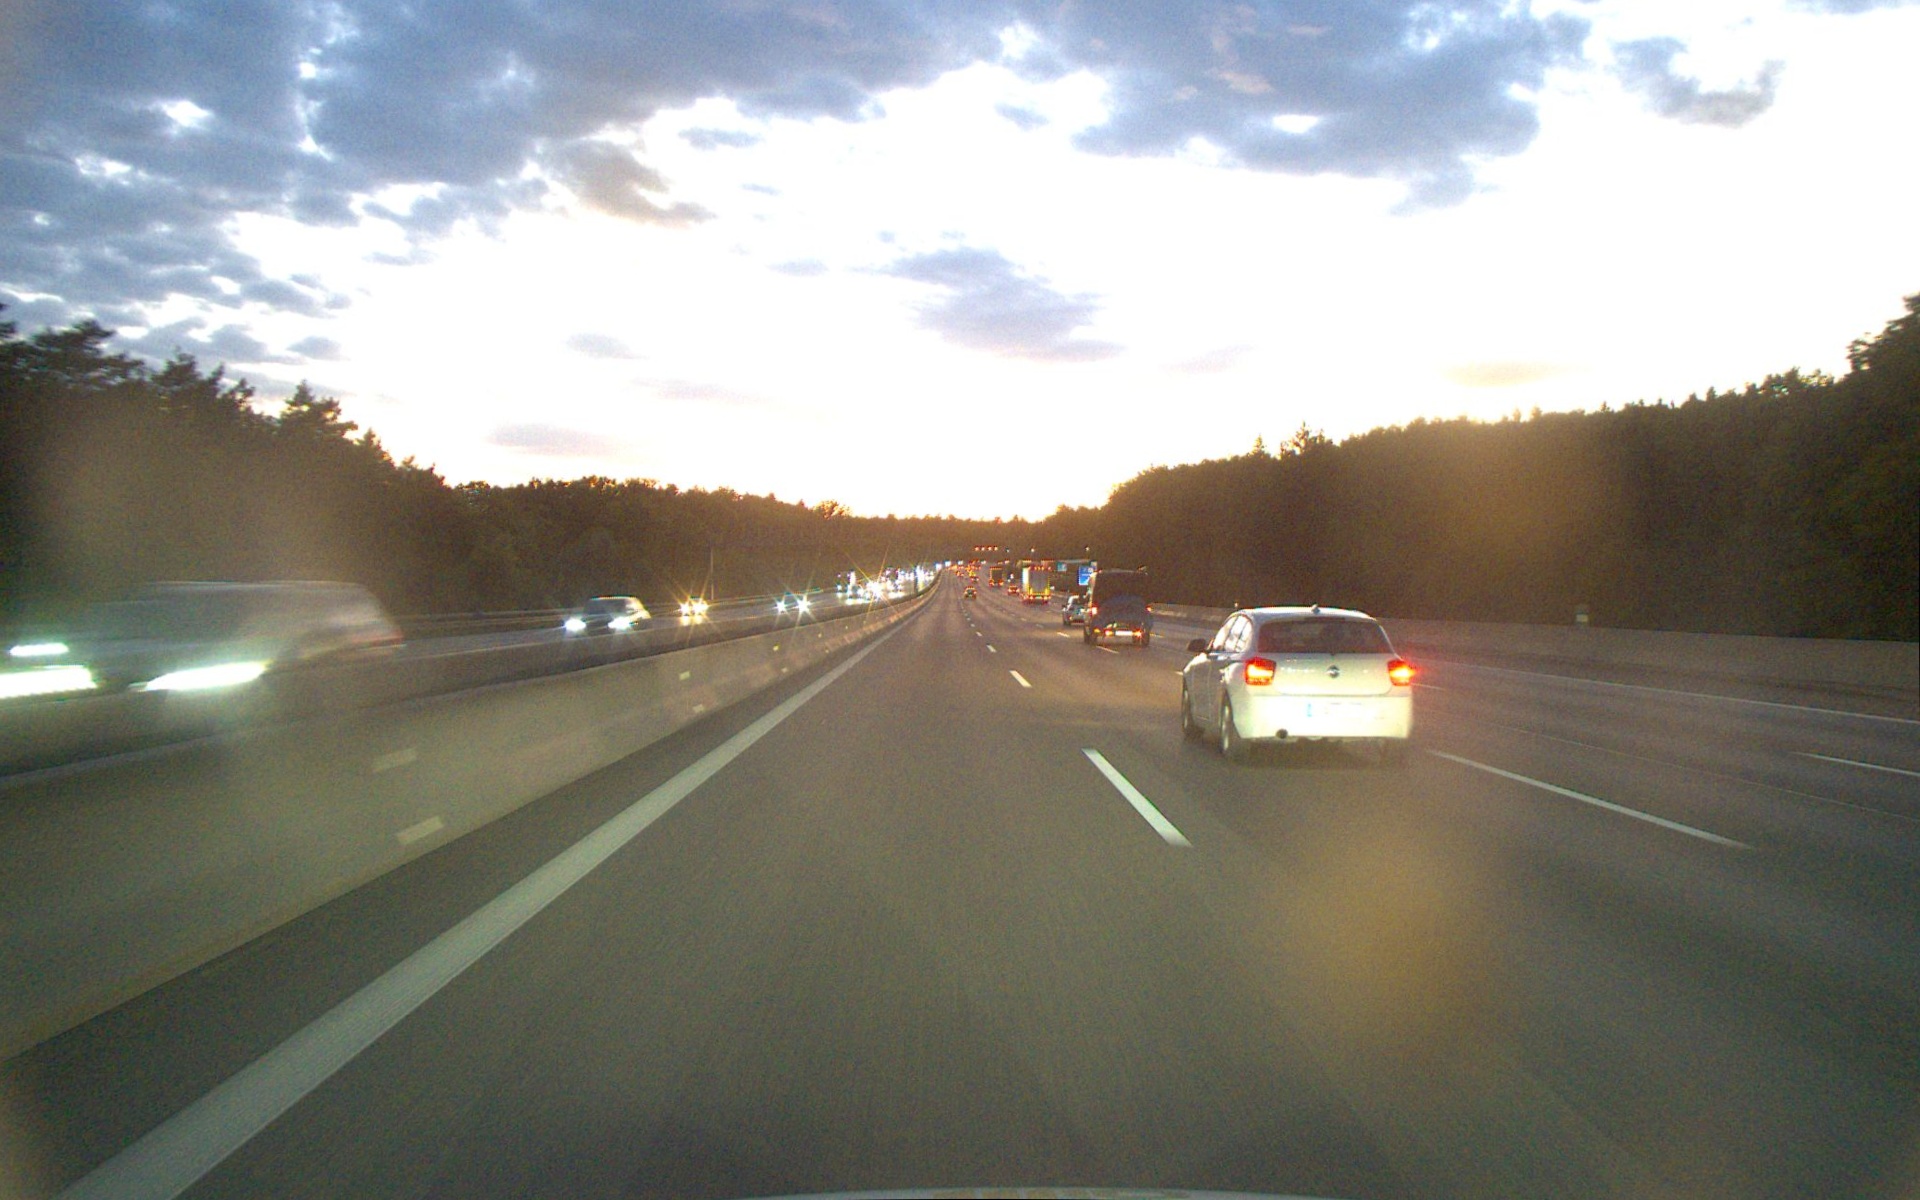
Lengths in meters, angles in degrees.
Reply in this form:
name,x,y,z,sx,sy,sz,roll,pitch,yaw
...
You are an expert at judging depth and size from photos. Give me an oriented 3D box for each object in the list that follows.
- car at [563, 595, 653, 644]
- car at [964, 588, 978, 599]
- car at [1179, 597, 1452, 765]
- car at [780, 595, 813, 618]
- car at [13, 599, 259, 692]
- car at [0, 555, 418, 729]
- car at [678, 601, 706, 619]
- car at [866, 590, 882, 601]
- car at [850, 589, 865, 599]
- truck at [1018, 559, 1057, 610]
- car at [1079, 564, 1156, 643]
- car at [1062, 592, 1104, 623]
name,x,y,z,sx,sy,sz,roll,pitch,yaw
car,-10.784,0.576,51.012,1.811,1.438,4.790,0,0,-1
car,1.564,-0.910,232.649,1.798,1.598,4.001,0,0,2
car,3.399,0.722,16.517,1.822,1.467,3.719,1,0,-2
car,-10.860,0.421,110.144,1.799,1.463,4.000,0,0,0
car,-14.013,0.713,28.471,1.873,1.449,4.746,0,0,0
car,-7.204,0.345,16.468,1.953,1.449,5.145,0,0,0
car,-22.573,0.803,139.187,1.799,1.463,3.999,0,0,-2
car,-11.206,-0.582,215.424,1.798,1.463,4.001,0,0,2
car,-15.215,-0.915,245.645,1.798,1.463,4.001,0,0,2
truck,9.284,-1.810,199.985,4.064,5.958,14.296,0,0,0
car,5.086,0.095,54.149,2.121,2.461,5.565,0,0,2
car,6.374,0.365,86.147,1.966,1.565,4.001,0,0,2
